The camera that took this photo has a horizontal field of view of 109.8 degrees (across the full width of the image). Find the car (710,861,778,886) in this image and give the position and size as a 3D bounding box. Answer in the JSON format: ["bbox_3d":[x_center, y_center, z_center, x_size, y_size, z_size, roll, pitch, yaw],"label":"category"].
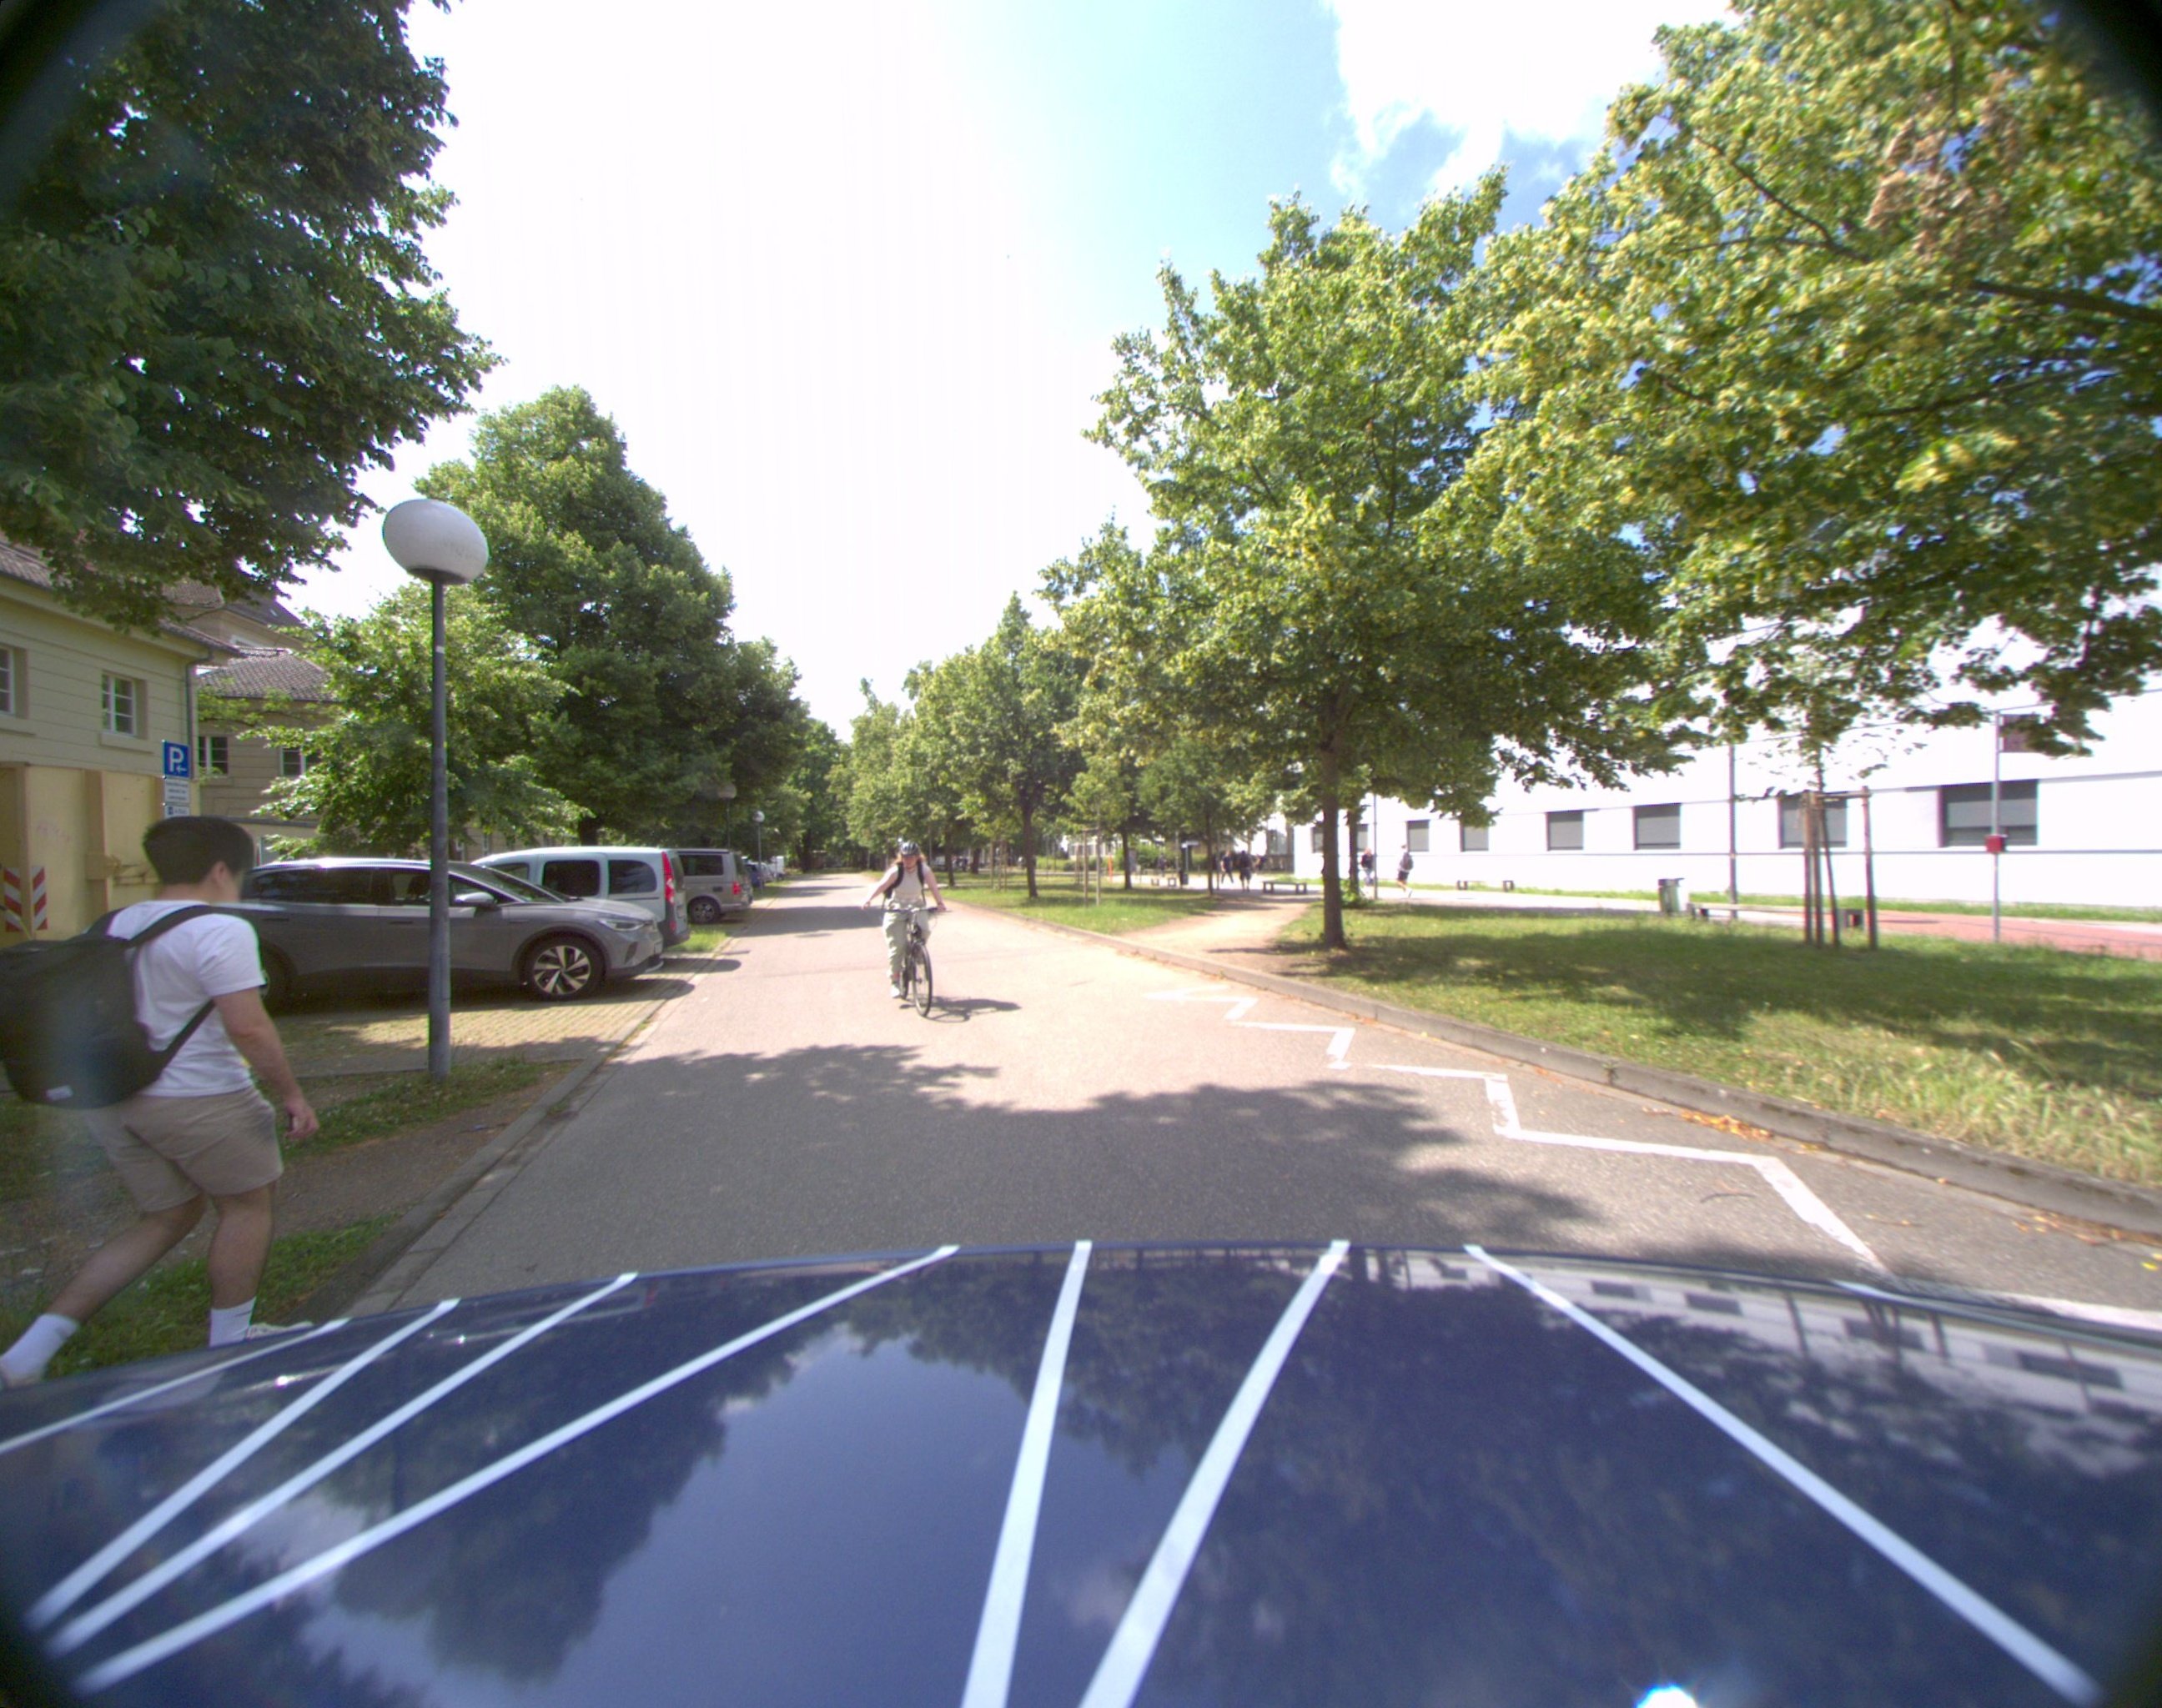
[{"bbox_3d":[-21.784,1.242,49.226,3.858,1.512,1.721,-1,0,-18],"label":"car"}]

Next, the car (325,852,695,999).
[{"bbox_3d":[-8.115,0.923,11.304,4.004,1.827,1.821,-1,0,-20],"label":"car"}]

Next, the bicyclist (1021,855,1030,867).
[{"bbox_3d":[-6.281,0.754,86.231,0.780,1.325,0.827,-1,1,-19],"label":"bicyclist"}]

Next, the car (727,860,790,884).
[{"bbox_3d":[-22.562,1.211,53.277,3.858,1.566,1.700,-1,0,-18],"label":"car"}]

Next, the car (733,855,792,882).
[{"bbox_3d":[-23.379,1.034,55.915,3.858,1.869,1.778,-1,0,-18],"label":"car"}]

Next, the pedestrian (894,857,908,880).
[{"bbox_3d":[-11.549,0.932,48.851,0.797,1.479,0.634,-1,1,-19],"label":"pedestrian"}]

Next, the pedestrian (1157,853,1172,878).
[{"bbox_3d":[5.712,0.770,51.921,0.850,1.639,0.803,-1,1,-8],"label":"pedestrian"}]

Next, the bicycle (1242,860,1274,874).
[{"bbox_3d":[12.115,0.901,51.977,1.947,0.912,0.797,-1,1,-14],"label":"bicycle"}]

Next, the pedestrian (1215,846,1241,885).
[{"bbox_3d":[6.901,0.533,35.607,0.794,1.765,1.093,-1,1,-14],"label":"pedestrian"}]

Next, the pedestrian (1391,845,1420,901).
[{"bbox_3d":[10.345,0.589,24.237,0.709,1.759,0.832,-1,1,31],"label":"pedestrian"}]

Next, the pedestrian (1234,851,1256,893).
[{"bbox_3d":[6.556,0.710,30.386,0.725,1.647,0.716,-1,1,22],"label":"pedestrian"}]

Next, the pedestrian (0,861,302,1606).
[{"bbox_3d":[-2.704,0.893,2.020,0.642,1.735,0.582,-1,1,-16],"label":"pedestrian"}]

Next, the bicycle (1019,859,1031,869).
[{"bbox_3d":[-6.348,1.117,86.491,0.780,1.026,2.145,-1,0,-19],"label":"bicycle"}]

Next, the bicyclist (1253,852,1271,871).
[{"bbox_3d":[12.427,0.523,52.099,0.902,1.252,0.797,-1,1,-14],"label":"bicyclist"}]

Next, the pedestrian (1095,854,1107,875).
[{"bbox_3d":[1.683,0.858,63.941,0.797,1.712,0.634,-1,1,-19],"label":"pedestrian"}]

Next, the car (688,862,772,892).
[{"bbox_3d":[-18.657,1.213,40.541,3.858,1.479,1.721,-1,0,-18],"label":"car"}]

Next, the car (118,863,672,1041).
[{"bbox_3d":[-7.369,0.949,8.830,4.367,1.642,1.892,0,0,-20],"label":"car"}]

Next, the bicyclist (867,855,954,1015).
[{"bbox_3d":[-1.753,0.756,7.705,0.676,1.470,1.061,-3,1,-19],"label":"bicyclist"}]

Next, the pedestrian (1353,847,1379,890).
[{"bbox_3d":[11.218,0.571,29.912,0.629,1.678,0.724,-1,1,-19],"label":"pedestrian"}]

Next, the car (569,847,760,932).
[{"bbox_3d":[-10.778,0.859,20.004,4.055,2.002,1.997,-1,0,-18],"label":"car"}]

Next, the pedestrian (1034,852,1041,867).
[{"bbox_3d":[-4.758,0.648,83.129,0.597,1.619,0.762,-1,1,-19],"label":"pedestrian"}]

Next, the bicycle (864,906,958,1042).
[{"bbox_3d":[-1.838,1.157,7.968,0.676,1.066,2.132,-3,1,-19],"label":"bicycle"}]

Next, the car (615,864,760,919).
[{"bbox_3d":[-12.554,1.158,24.517,3.858,1.585,1.783,-1,0,-18],"label":"car"}]

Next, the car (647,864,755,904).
[{"bbox_3d":[-16.070,1.222,32.332,3.858,1.525,1.783,-1,0,-18],"label":"car"}]
